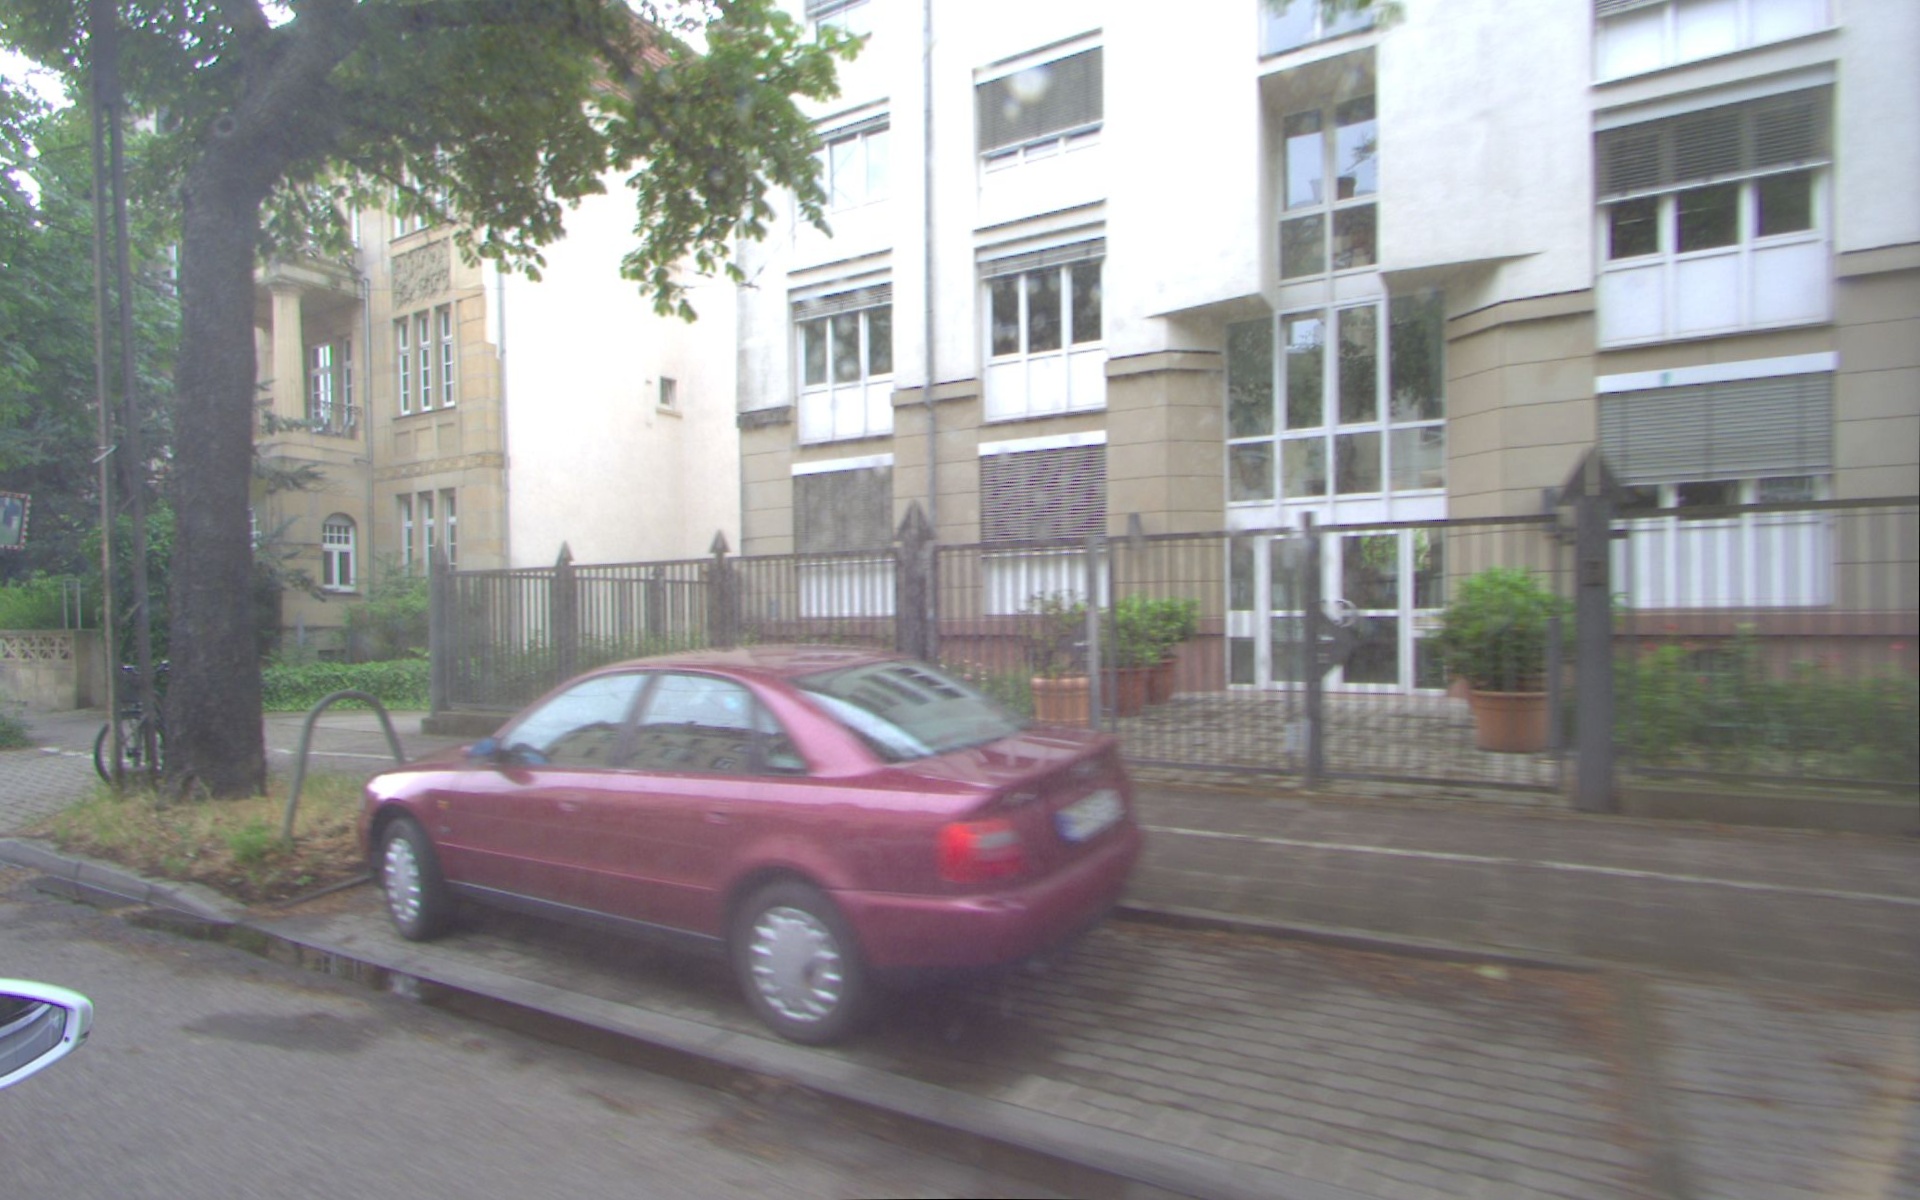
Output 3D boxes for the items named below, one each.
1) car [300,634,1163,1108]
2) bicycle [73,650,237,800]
[{"bbox_3d":[-1.275,0.926,4.933,4.164,1.418,1.599,-1,1,31],"label":"car"},{"bbox_3d":[-7.390,1.087,9.288,0.425,1.213,1.902,-1,-2,-14],"label":"bicycle"}]
